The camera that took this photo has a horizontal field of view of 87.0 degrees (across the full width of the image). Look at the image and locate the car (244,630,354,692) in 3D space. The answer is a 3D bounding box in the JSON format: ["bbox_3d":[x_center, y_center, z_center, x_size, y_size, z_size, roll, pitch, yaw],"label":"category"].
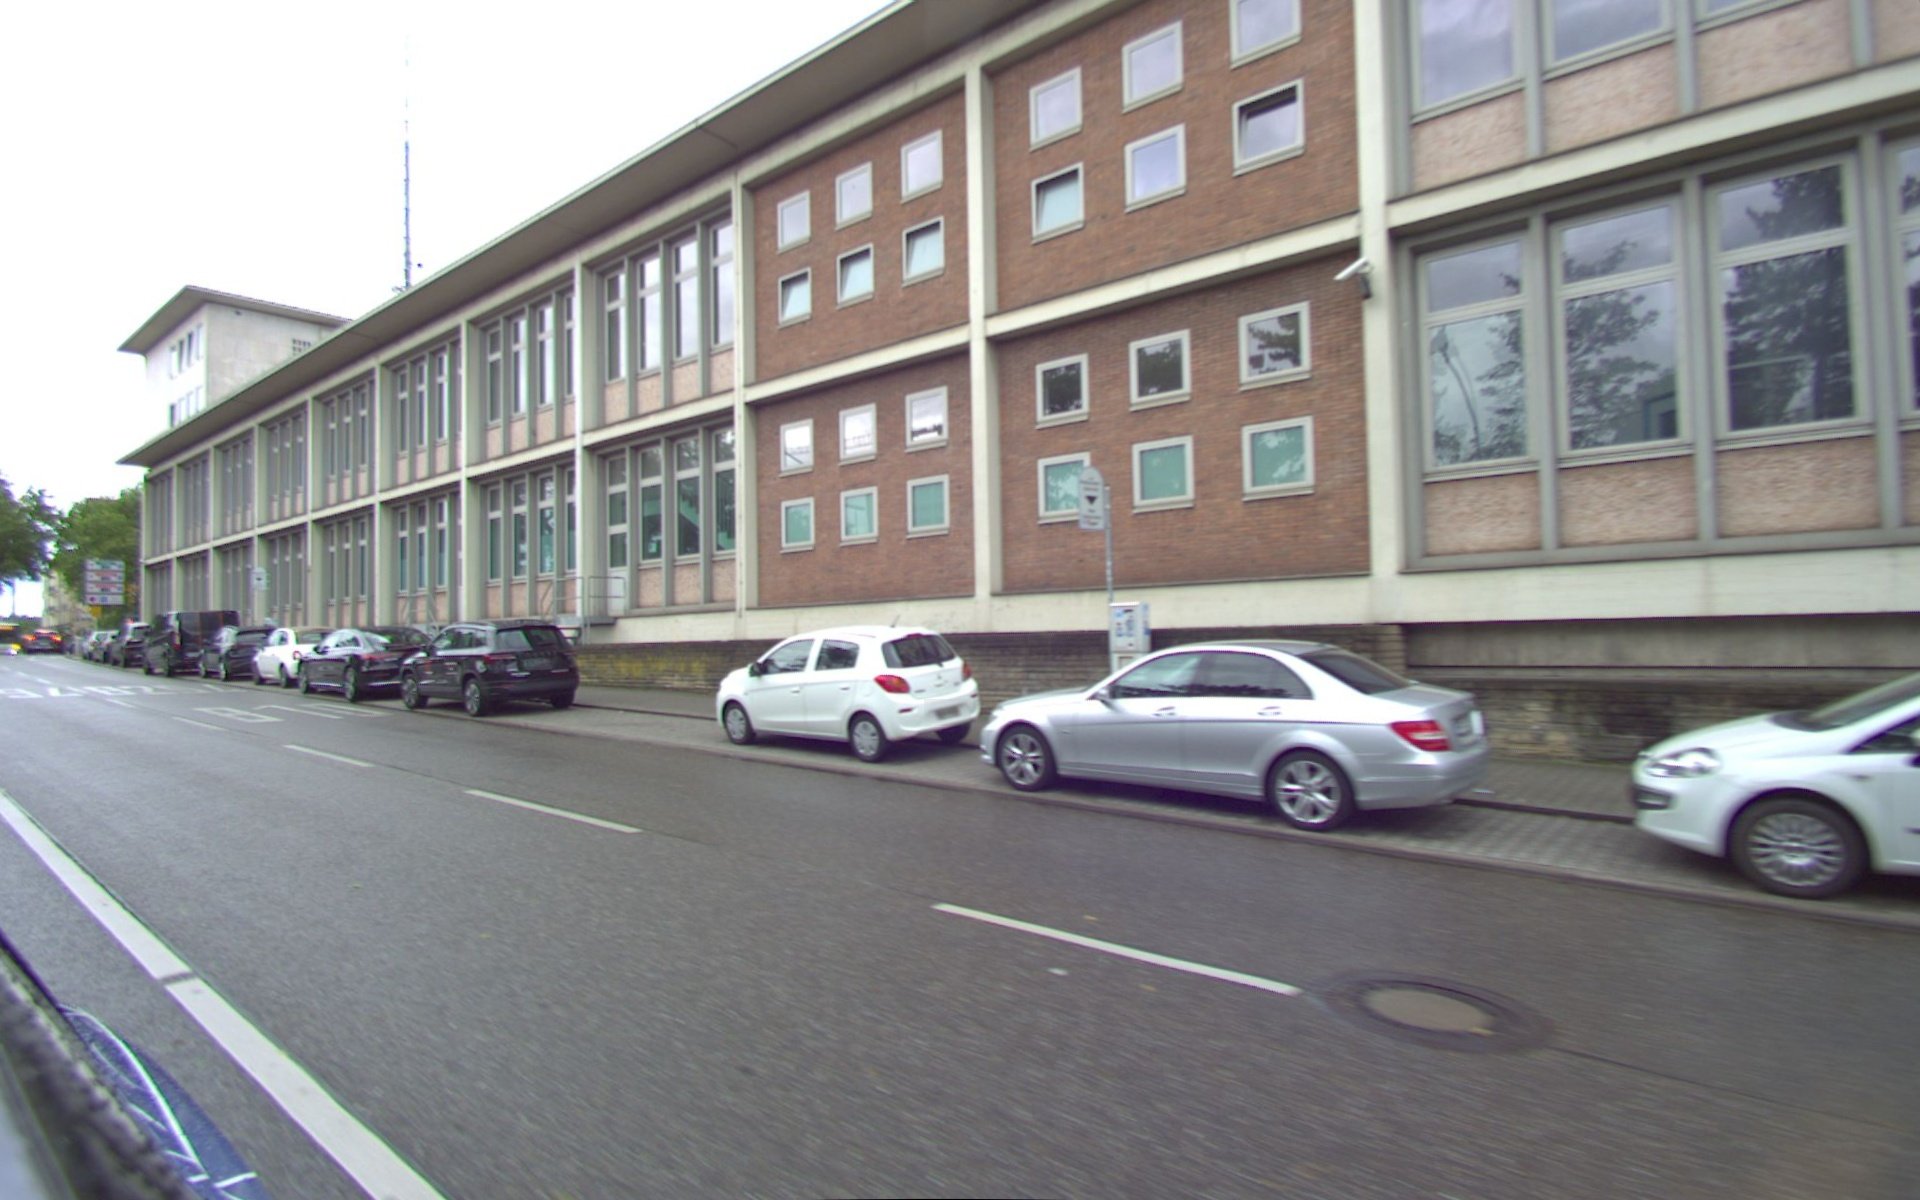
[{"bbox_3d":[-17.103,1.533,26.136,3.552,1.495,1.549,-2,-3,43],"label":"car"}]

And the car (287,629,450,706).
[{"bbox_3d":[-13.193,1.428,22.430,4.909,1.495,1.796,-2,-2,43],"label":"car"}]

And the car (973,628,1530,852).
[{"bbox_3d":[2.397,1.022,9.061,4.482,1.446,1.730,-1,0,40],"label":"car"}]

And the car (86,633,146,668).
[{"bbox_3d":[-35.339,2.105,42.341,4.112,1.364,1.525,-2,-2,45],"label":"car"}]

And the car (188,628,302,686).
[{"bbox_3d":[-20.863,1.619,29.473,4.312,1.564,1.840,-2,-3,43],"label":"car"}]

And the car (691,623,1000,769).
[{"bbox_3d":[-1.543,1.067,12.735,3.918,1.534,1.662,-1,-1,41],"label":"car"}]

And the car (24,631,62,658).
[{"bbox_3d":[-60.811,2.918,67.082,1.800,1.673,4.341,1,-2,-43],"label":"car"}]

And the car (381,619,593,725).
[{"bbox_3d":[-8.779,1.213,18.598,4.512,1.665,1.823,-1,0,41],"label":"car"}]

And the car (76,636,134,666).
[{"bbox_3d":[-39.141,2.312,46.288,4.095,1.307,1.672,-2,-2,45],"label":"car"}]

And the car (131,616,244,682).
[{"bbox_3d":[-24.938,1.535,32.607,4.993,1.958,1.929,-2,-2,41],"label":"car"}]

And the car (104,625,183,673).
[{"bbox_3d":[-31.283,1.828,38.720,4.604,1.688,1.777,-1,-2,44],"label":"car"}]

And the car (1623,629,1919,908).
[{"bbox_3d":[6.378,0.932,5.755,4.178,1.465,1.730,-2,0,40],"label":"car"}]
